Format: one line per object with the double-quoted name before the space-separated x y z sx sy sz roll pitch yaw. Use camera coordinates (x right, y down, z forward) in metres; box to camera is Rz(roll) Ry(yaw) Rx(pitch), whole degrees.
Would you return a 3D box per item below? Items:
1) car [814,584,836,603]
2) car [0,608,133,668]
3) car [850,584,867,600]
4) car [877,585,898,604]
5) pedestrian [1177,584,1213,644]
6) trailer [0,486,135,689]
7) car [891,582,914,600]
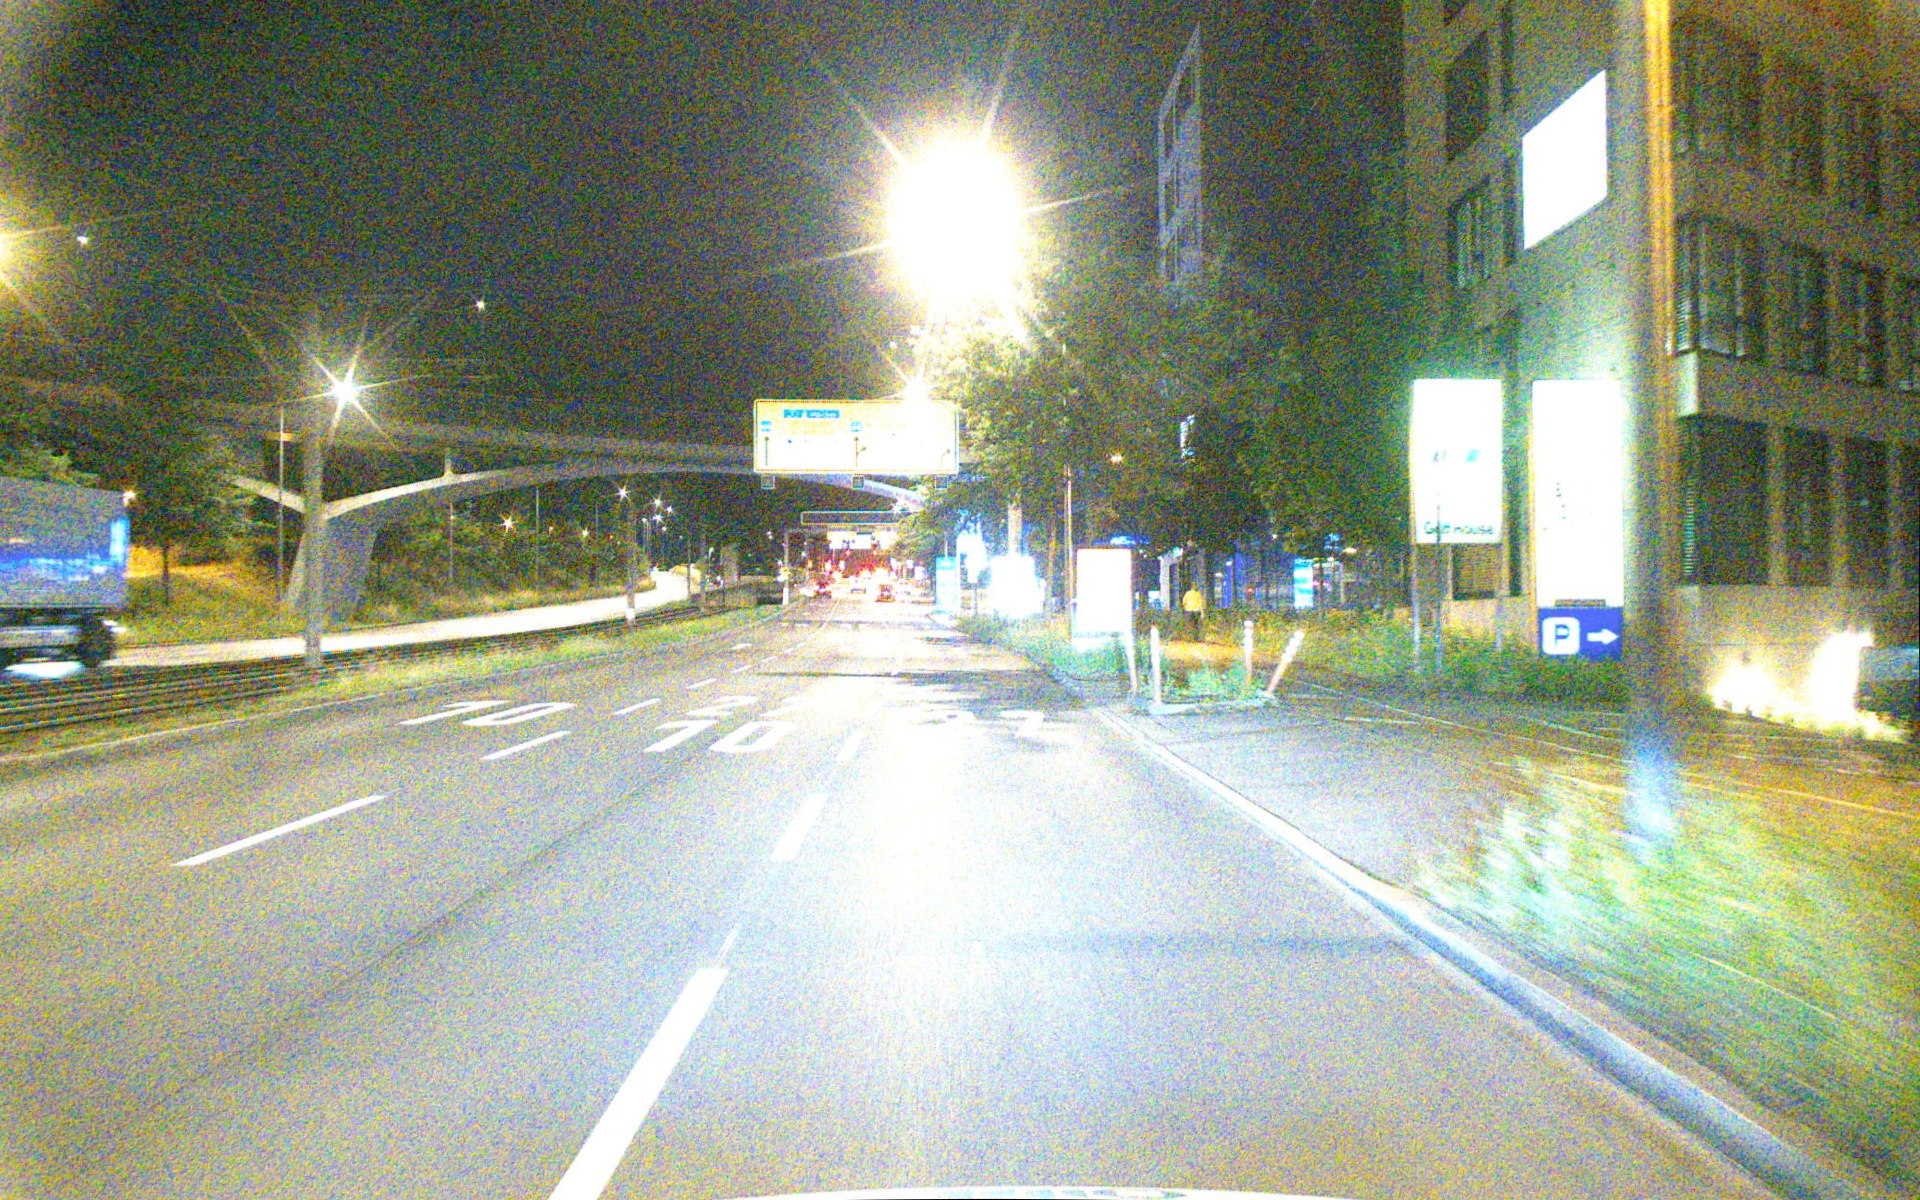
"car" -13.193 -0.602 161.656 1.928 1.741 3.998 1 -1 -2
"car" -24.631 1.001 45.348 1.946 1.507 4.201 -1 0 -3
"car" -11.760 -0.915 192.402 1.746 1.741 3.999 1 -1 -1
"car" -6.846 -0.492 156.272 1.928 1.741 3.998 1 -1 -2
"pedestrian" 7.023 0.423 49.468 0.835 1.737 0.956 2 -1 -3
"trailer" -21.065 -0.276 34.590 3.622 4.059 8.390 1 -1 -3
"car" -6.817 -1.041 196.212 2.598 2.049 5.297 1 -1 -2
